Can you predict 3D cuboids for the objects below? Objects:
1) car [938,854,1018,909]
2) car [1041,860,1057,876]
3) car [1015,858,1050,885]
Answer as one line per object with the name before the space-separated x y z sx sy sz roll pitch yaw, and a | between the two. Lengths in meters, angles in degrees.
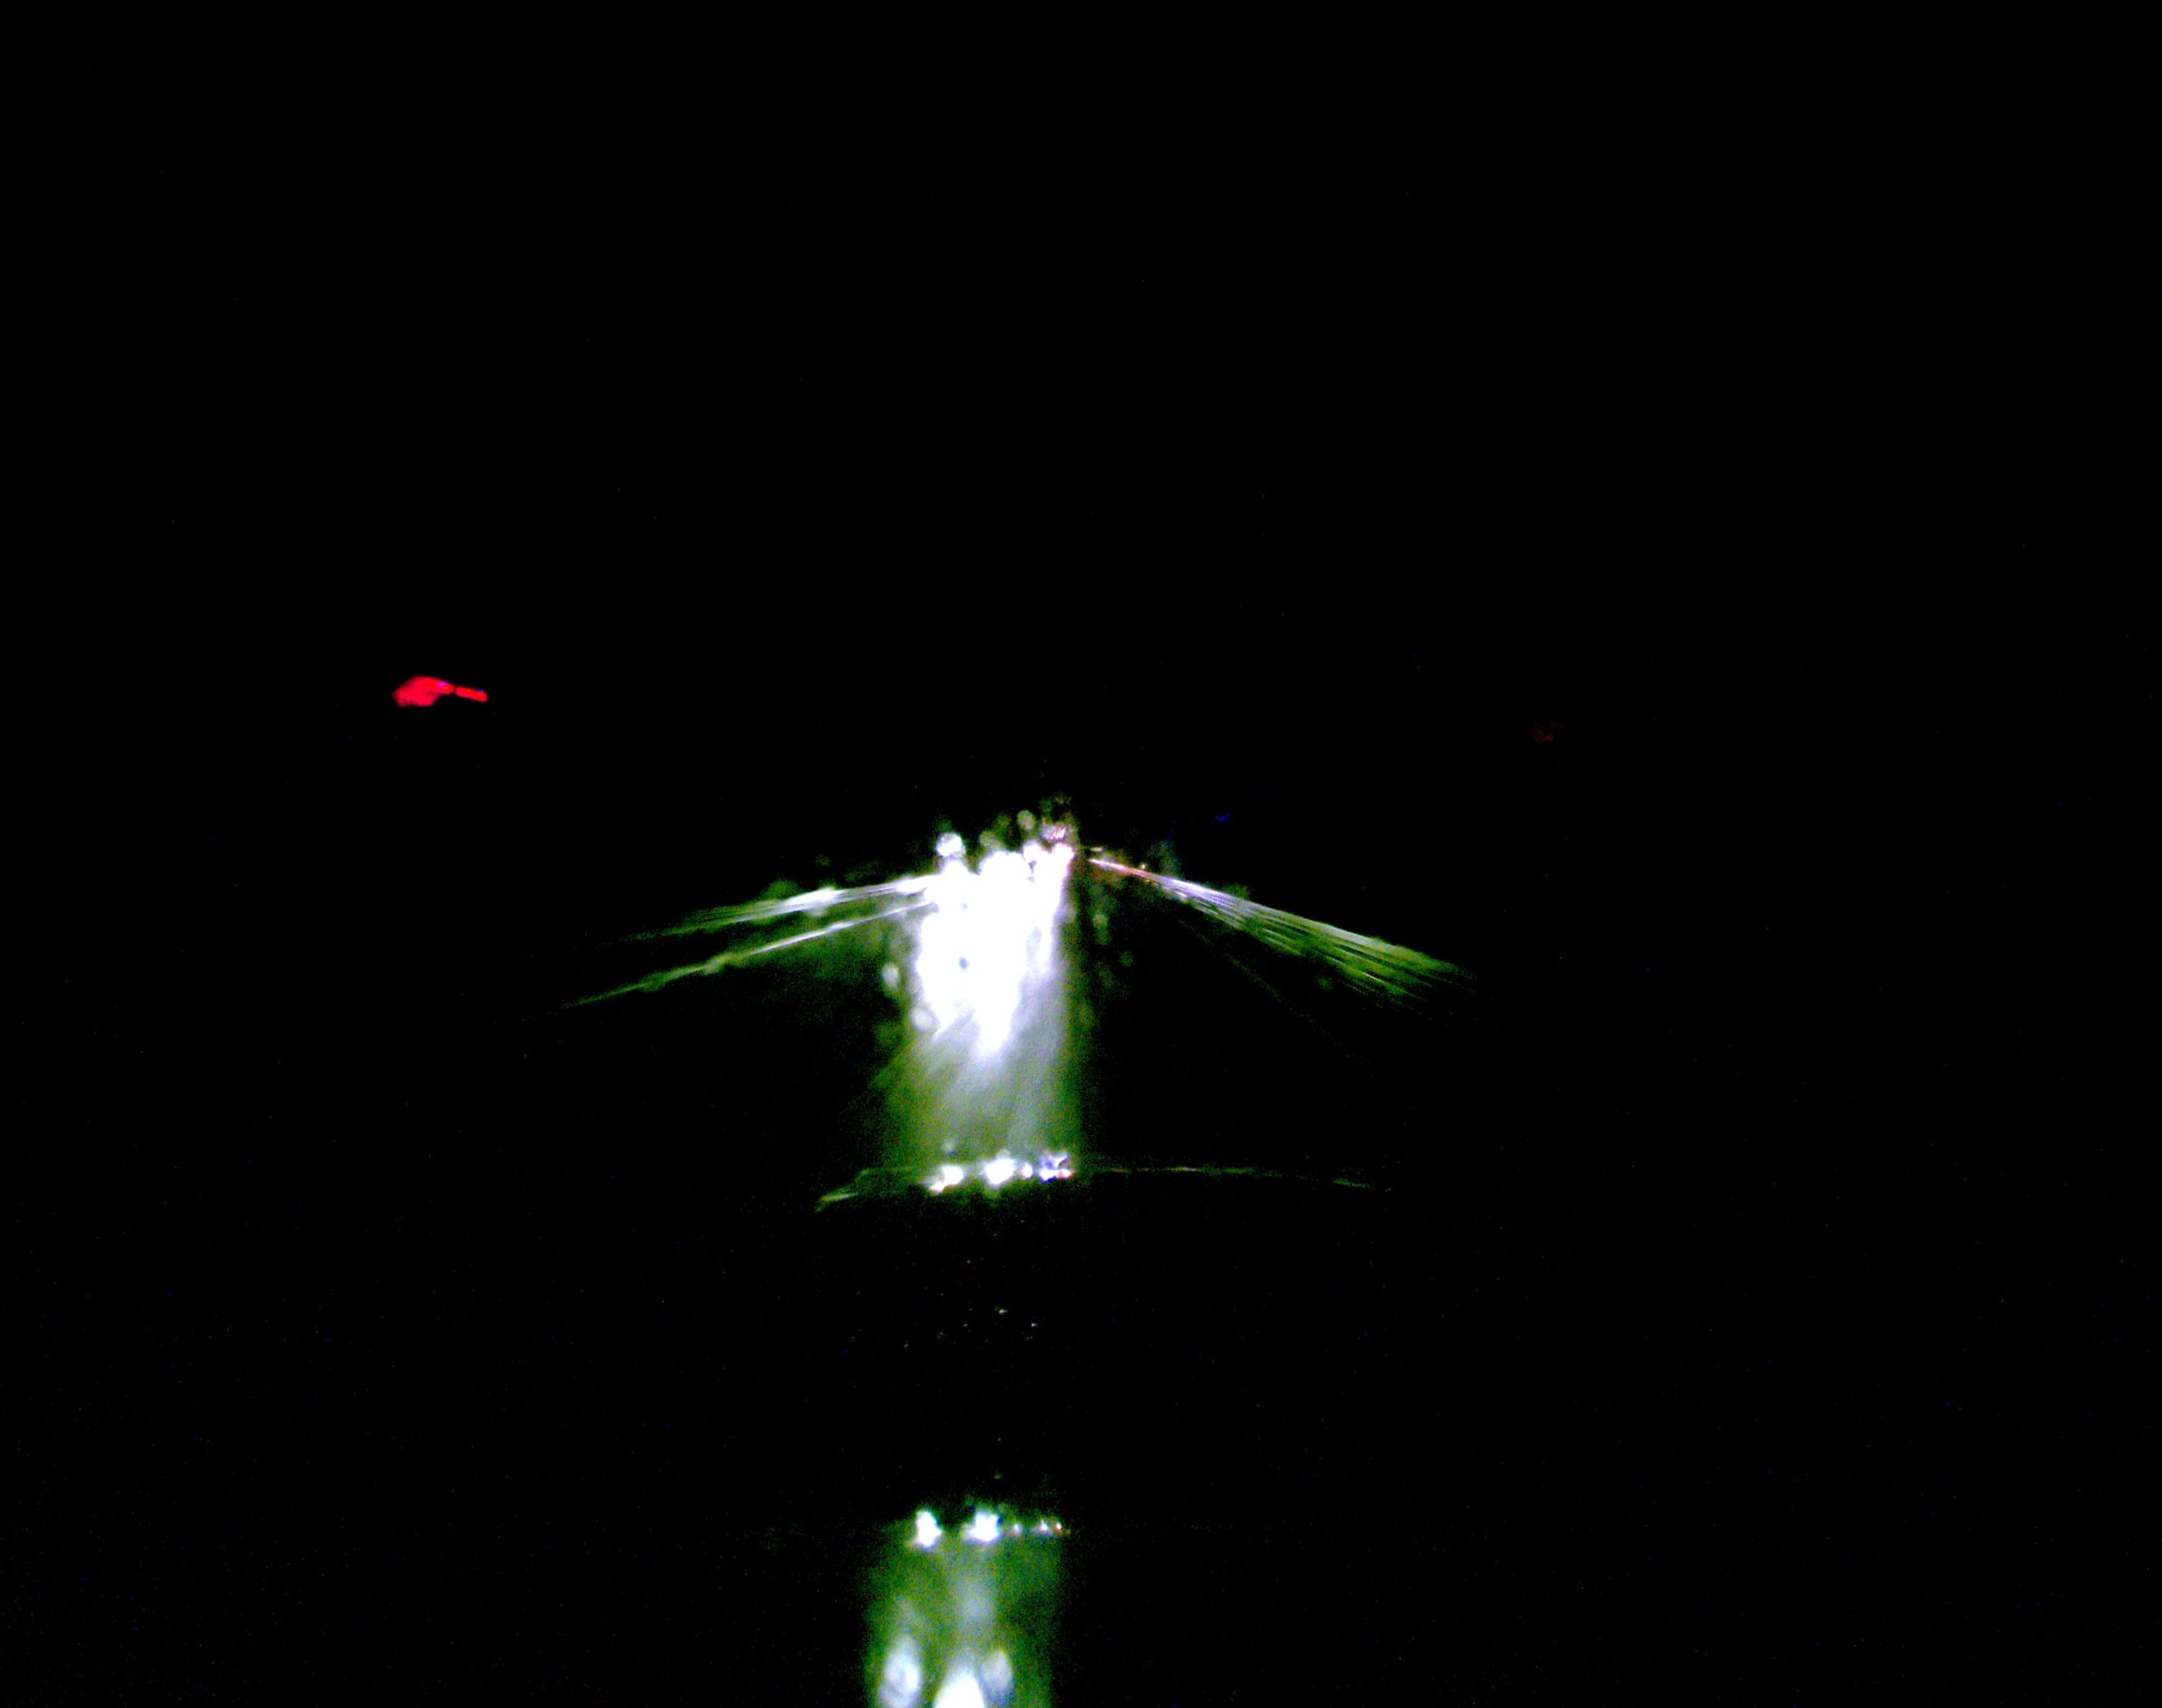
car | -3.060 0.771 24.978 1.826 1.483 4.353 -1 0 1
car | -4.038 1.774 103.008 1.827 1.871 4.426 -1 0 -1
car | -2.791 0.974 47.771 1.827 1.483 4.068 -1 0 0
